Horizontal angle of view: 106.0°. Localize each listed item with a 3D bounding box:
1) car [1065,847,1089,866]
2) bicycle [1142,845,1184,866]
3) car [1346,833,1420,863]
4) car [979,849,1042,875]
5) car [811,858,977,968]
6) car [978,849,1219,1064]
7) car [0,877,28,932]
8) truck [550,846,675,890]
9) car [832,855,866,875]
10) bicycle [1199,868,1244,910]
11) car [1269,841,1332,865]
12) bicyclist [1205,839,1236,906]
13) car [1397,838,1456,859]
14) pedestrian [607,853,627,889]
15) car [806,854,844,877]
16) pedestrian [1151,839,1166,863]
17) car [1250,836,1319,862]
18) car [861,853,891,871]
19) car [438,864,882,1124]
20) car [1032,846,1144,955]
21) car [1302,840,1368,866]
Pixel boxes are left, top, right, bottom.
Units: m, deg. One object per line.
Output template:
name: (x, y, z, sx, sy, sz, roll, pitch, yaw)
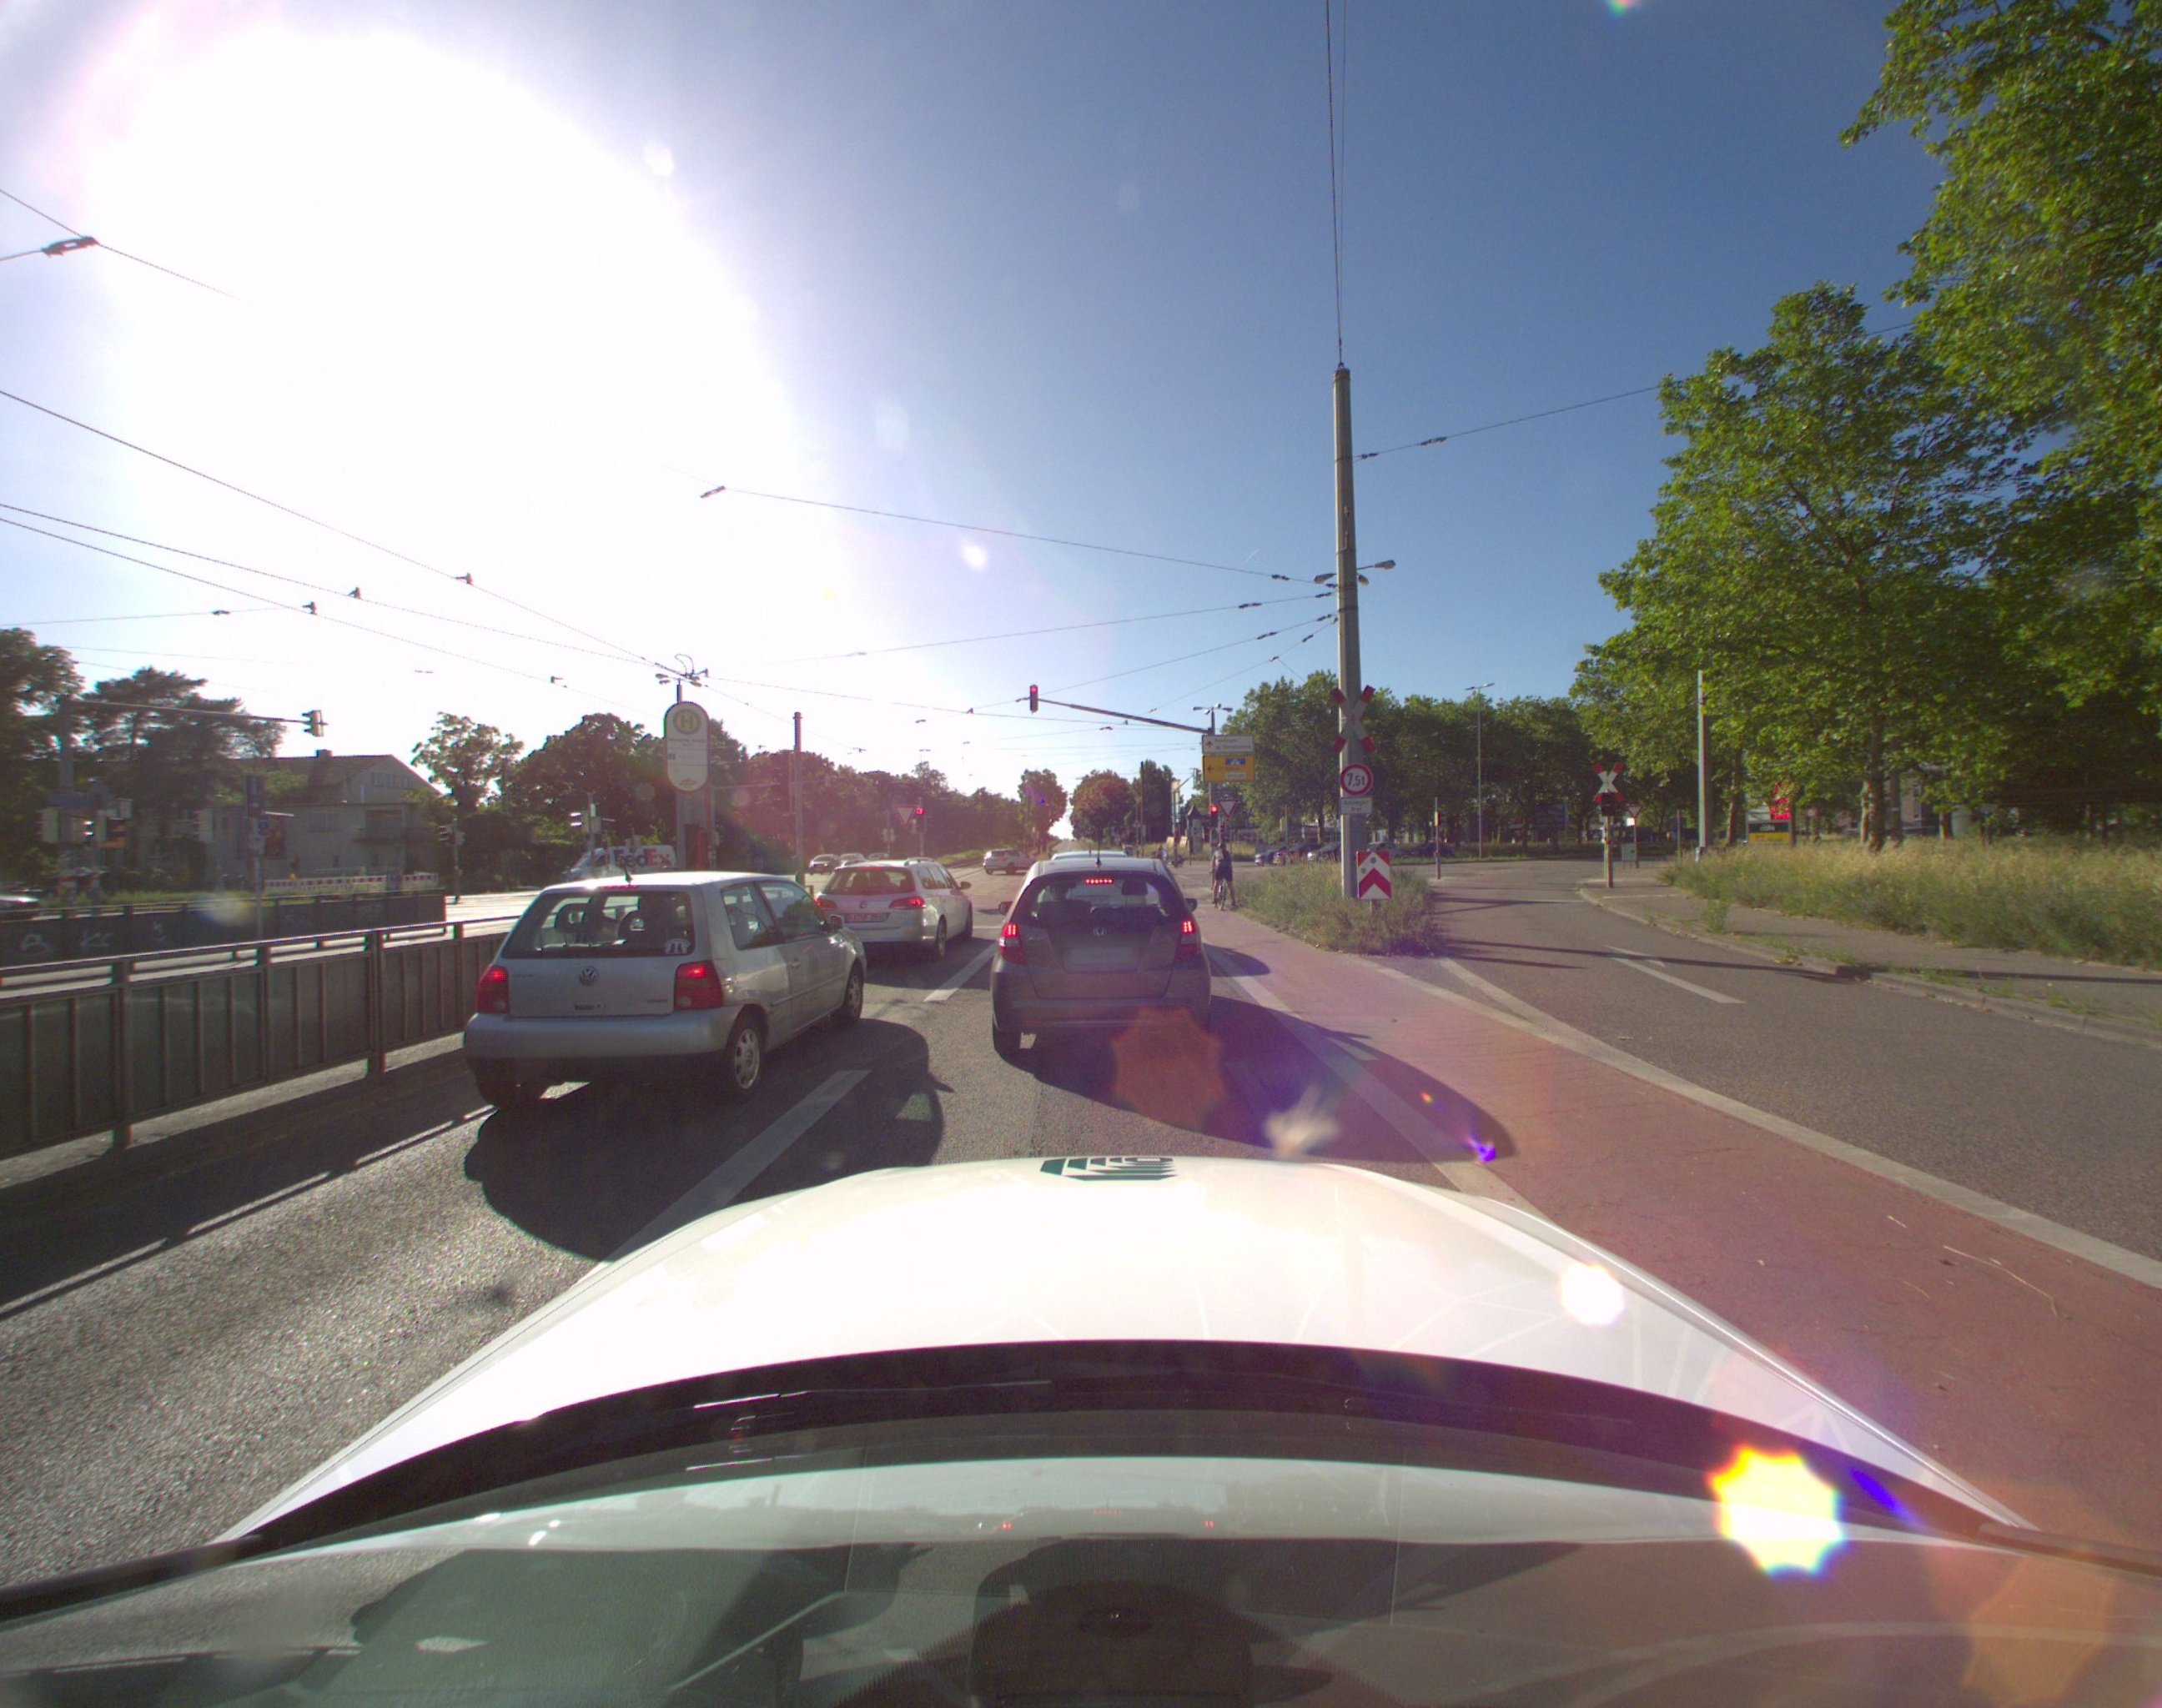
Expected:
car: (-0.276, 0.204, 64.480, 1.515, 1.378, 3.682, -2, 0, 6)
bicycle: (6.348, 0.112, 63.218, 3.217, 1.574, 0.815, -2, 0, -22)
car: (21.961, -0.429, 59.249, 4.906, 2.013, 1.986, -2, 0, -22)
car: (-4.278, 0.460, 50.025, 1.693, 1.478, 4.026, -2, 0, 32)
car: (-2.772, 0.805, 12.981, 1.613, 1.457, 4.086, -1, 0, 1)
car: (0.115, 0.712, 7.491, 1.663, 1.462, 3.585, -1, 0, -1)
car: (-32.020, 1.455, 21.496, 4.844, 1.497, 1.771, -2, 0, -25)
truck: (-29.465, 0.810, 51.603, 1.975, 2.565, 6.863, -1, 0, 26)
car: (-18.910, 0.846, 66.497, 1.829, 1.548, 4.277, -2, 0, -5)
bicycle: (3.638, 0.875, 21.301, 0.719, 0.989, 2.876, 0, 0, 1)
car: (15.023, -0.067, 55.791, 4.002, 1.531, 1.594, -2, 0, -22)
bicyclist: (3.637, 0.468, 21.224, 0.663, 1.716, 0.948, 0, -1, 1)
car: (27.813, -0.425, 65.560, 4.526, 1.574, 1.681, -2, 0, -21)
pedestrian: (-26.528, 0.948, 46.550, 0.748, 2.013, 0.788, -2, 0, -11)
car: (-19.012, 0.835, 60.704, 1.829, 1.548, 3.993, -2, 0, -5)
pedestrian: (5.993, -0.240, 63.133, 0.855, 1.836, 0.785, -2, 0, -20)
car: (15.033, -0.355, 60.084, 4.705, 1.879, 1.986, 0, -1, -22)
car: (-18.776, 0.704, 74.753, 1.991, 1.604, 4.745, 0, 0, -6)
car: (-2.822, 0.821, 6.334, 1.613, 1.417, 3.352, -2, 0, 1)
car: (0.152, 0.686, 14.131, 1.605, 1.562, 4.289, -1, 0, 1)
car: (16.477, -0.052, 52.798, 3.987, 1.544, 1.580, -2, 0, -23)
